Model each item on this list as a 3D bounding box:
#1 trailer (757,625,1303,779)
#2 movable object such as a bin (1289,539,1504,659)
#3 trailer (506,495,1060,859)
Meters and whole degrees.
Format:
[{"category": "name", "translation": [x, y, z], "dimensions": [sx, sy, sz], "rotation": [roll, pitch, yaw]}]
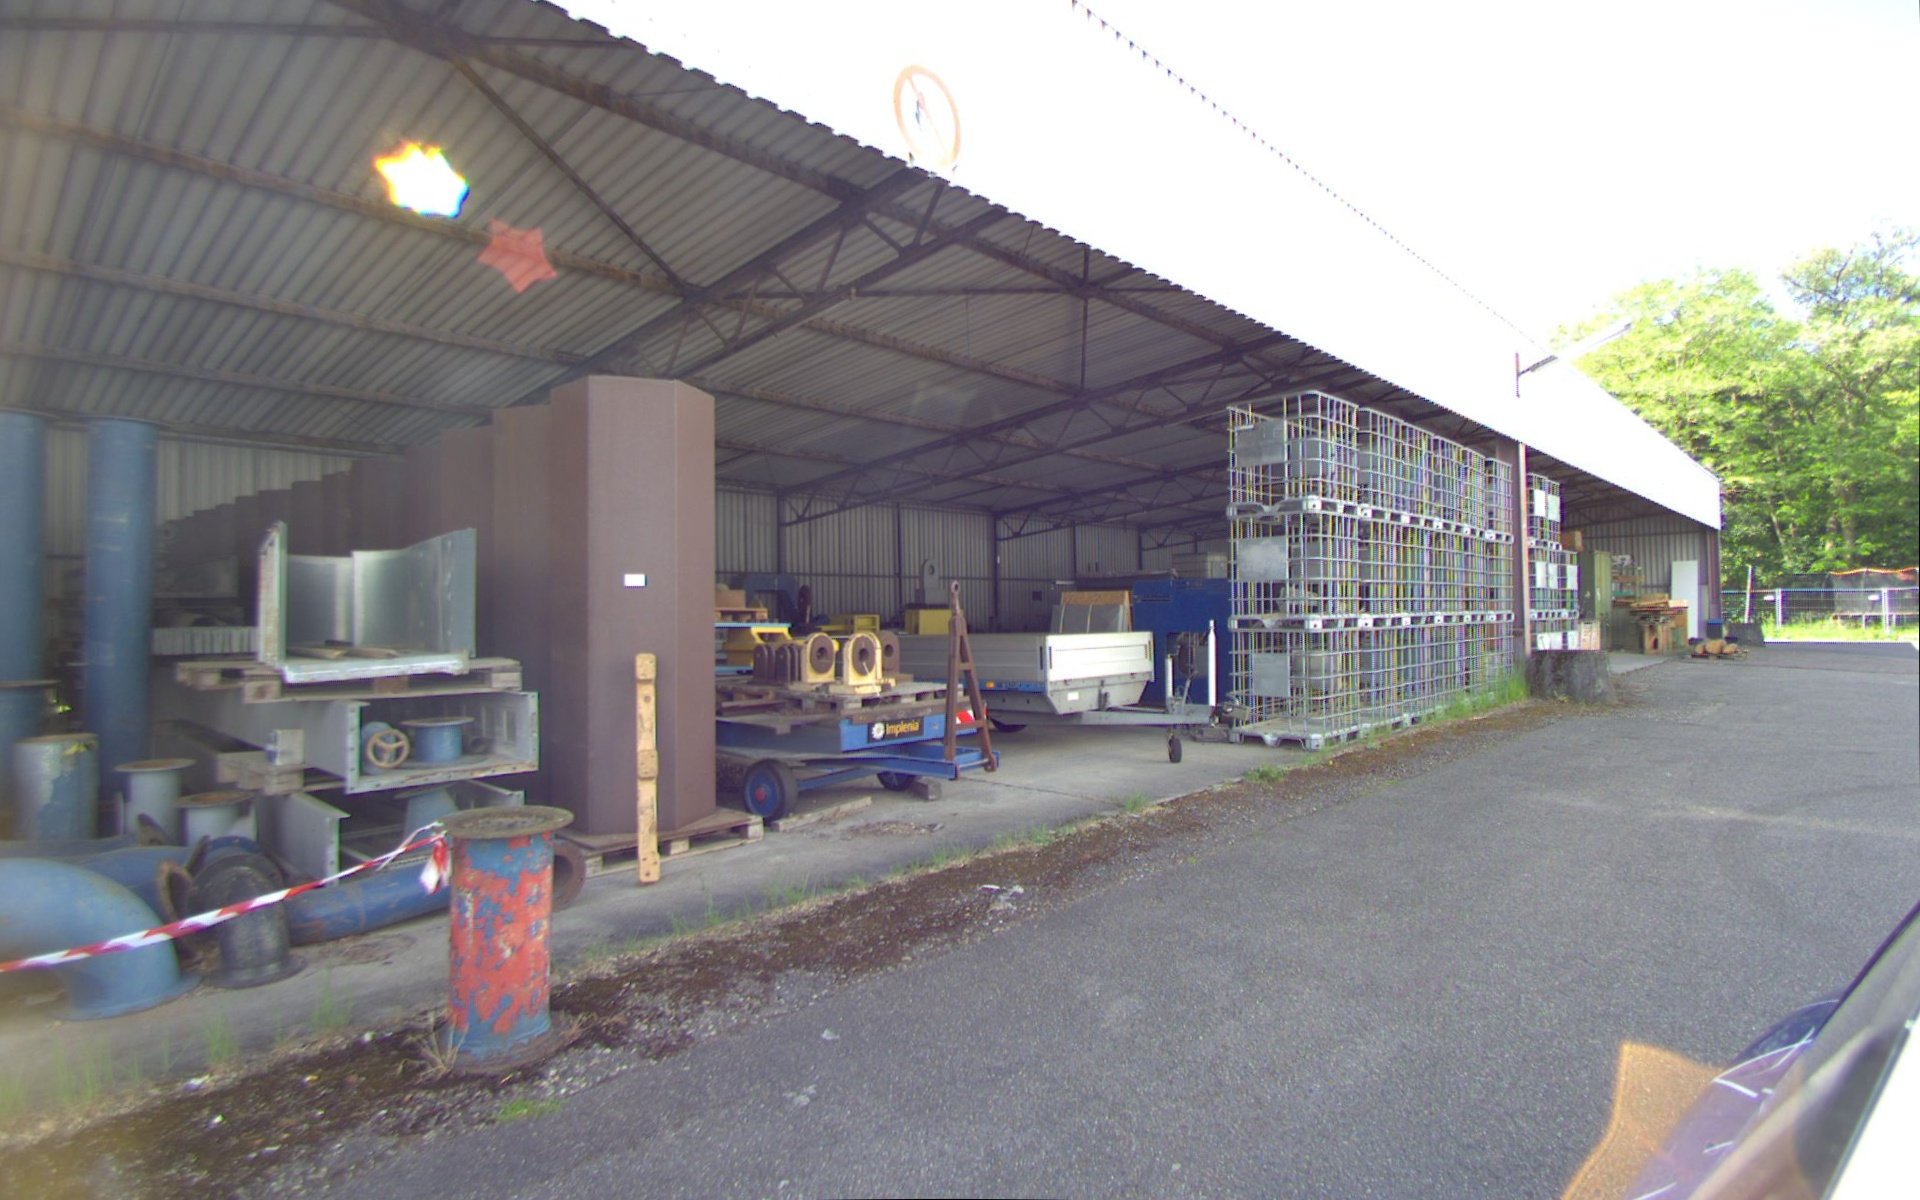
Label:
[{"category": "trailer", "translation": [0.409, 0.860, 10.586], "dimensions": [5.729, 1.147, 1.978], "rotation": [-1, -1, 42]}, {"category": "movable object such as a bin", "translation": [10.919, -0.002, 25.505], "dimensions": [4.611, 2.757, 1.970], "rotation": [0, -1, 42]}, {"category": "trailer", "translation": [-1.693, 0.414, 8.061], "dimensions": [2.013, 2.022, 4.821], "rotation": [0, 0, -44]}]
